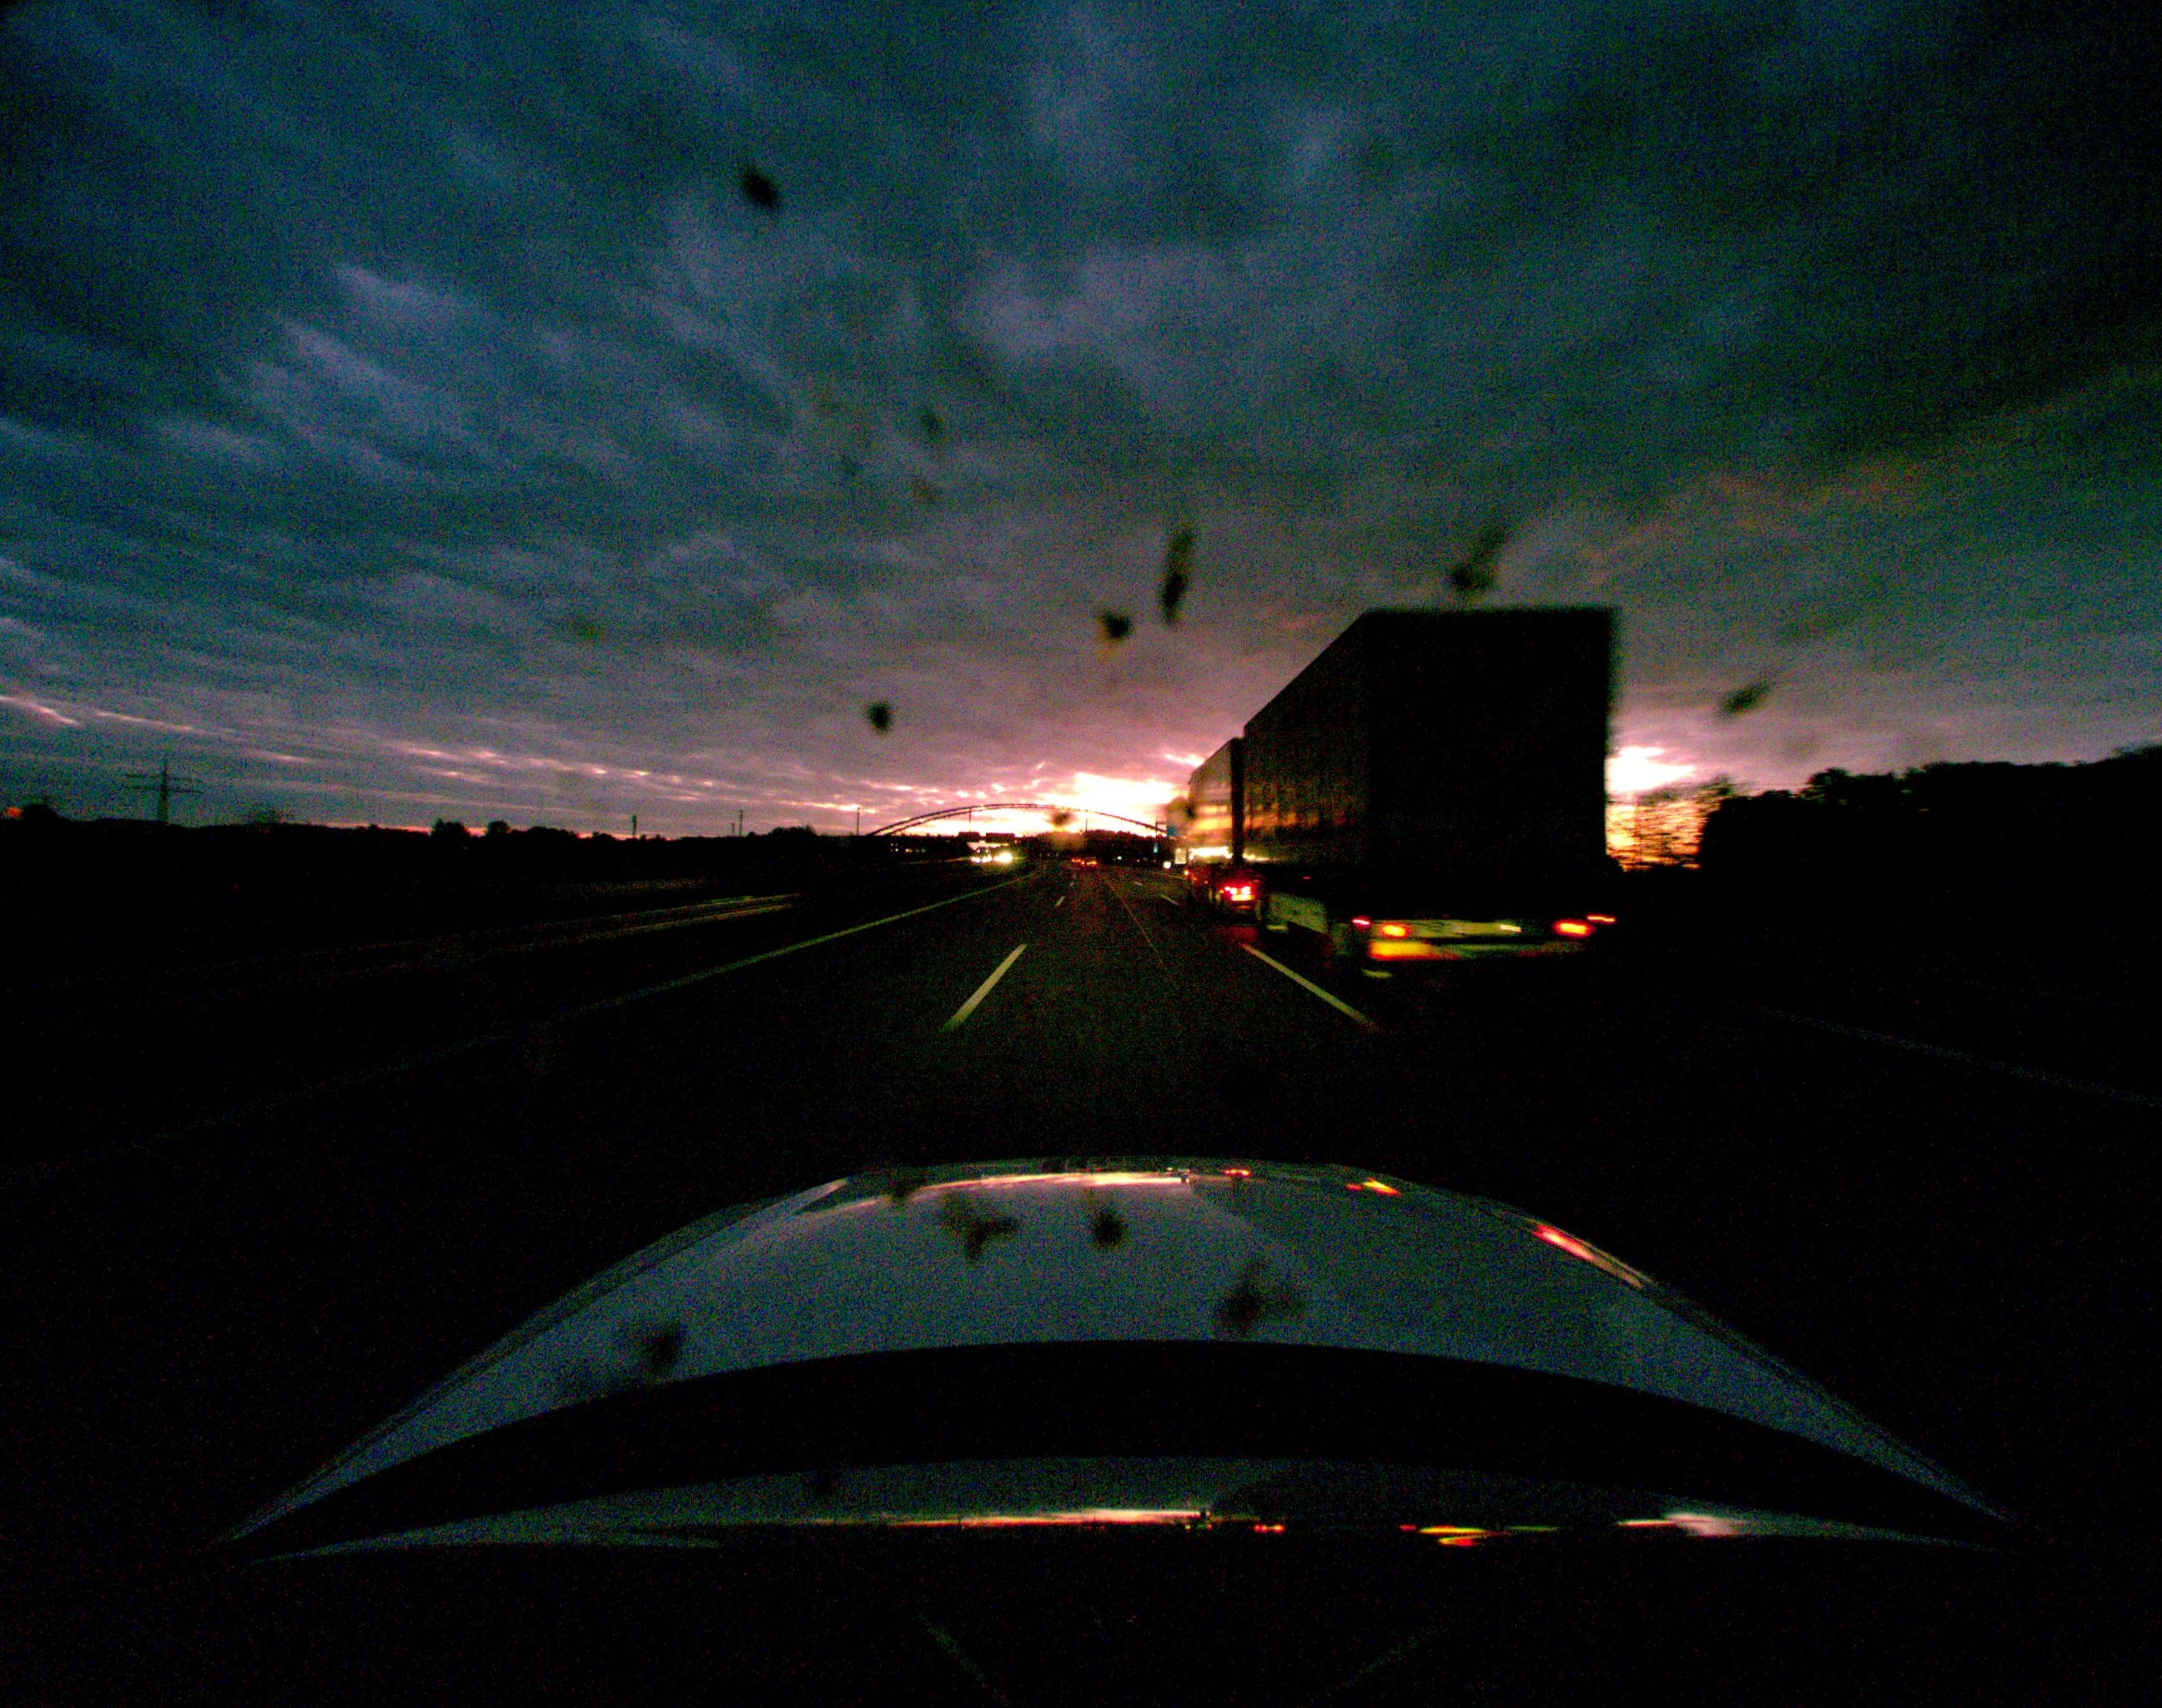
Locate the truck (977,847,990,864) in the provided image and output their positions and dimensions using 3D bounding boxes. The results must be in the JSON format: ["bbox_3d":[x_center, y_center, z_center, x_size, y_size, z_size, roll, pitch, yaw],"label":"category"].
[{"bbox_3d":[-25.994,0.511,217.508,2.818,4.507,6.237,0,0,-3],"label":"truck"}]

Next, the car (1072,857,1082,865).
[{"bbox_3d":[-0.839,1.323,154.781,1.682,1.401,3.411,-1,-2,3],"label":"car"}]

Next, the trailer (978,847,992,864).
[{"bbox_3d":[-26.306,0.547,224.077,2.818,4.507,14.611,0,0,-3],"label":"trailer"}]

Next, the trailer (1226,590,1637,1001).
[{"bbox_3d":[4.267,-0.562,12.526,2.712,4.071,8.833,0,0,1],"label":"trailer"}]

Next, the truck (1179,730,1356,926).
[{"bbox_3d":[4.513,-0.517,22.256,2.680,4.071,10.523,0,0,2],"label":"truck"}]

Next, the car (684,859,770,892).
[{"bbox_3d":[-15.988,0.935,37.084,1.988,1.404,4.794,0,0,-2],"label":"car"}]

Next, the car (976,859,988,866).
[{"bbox_3d":[-22.359,1.851,183.538,1.986,1.625,4.844,0,0,1],"label":"car"}]

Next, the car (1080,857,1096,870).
[{"bbox_3d":[0.812,1.139,96.747,1.686,1.401,3.403,0,-2,-4],"label":"car"}]
